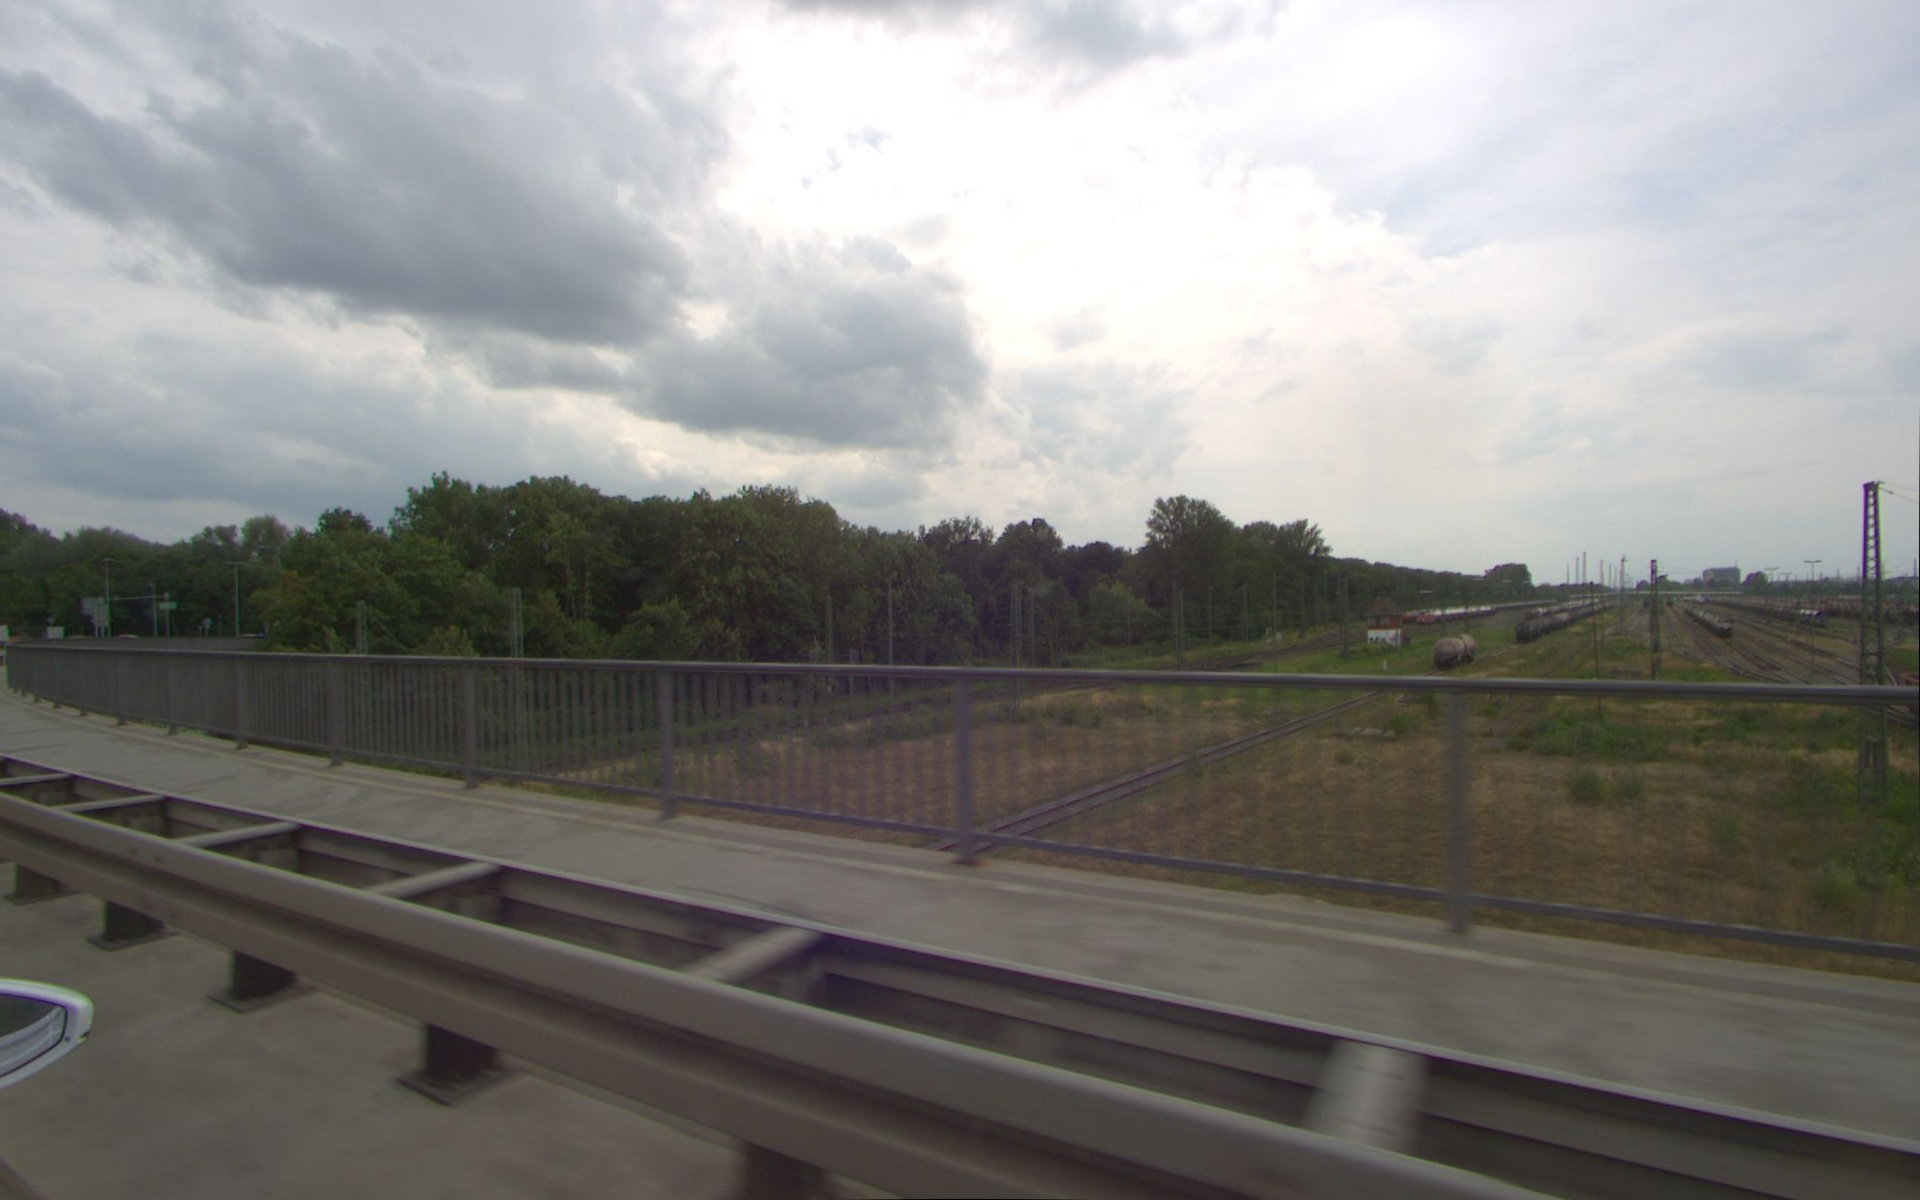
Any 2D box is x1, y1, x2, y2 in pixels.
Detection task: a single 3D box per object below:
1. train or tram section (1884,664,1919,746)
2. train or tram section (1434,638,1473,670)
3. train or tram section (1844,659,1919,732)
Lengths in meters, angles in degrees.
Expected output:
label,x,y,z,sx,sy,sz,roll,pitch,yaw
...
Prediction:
label,x,y,z,sx,sy,sz,roll,pitch,yaw
train or tram section,74.937,7.959,76.832,3.754,5.695,15.472,-1,-2,35
train or tram section,68.418,7.376,138.699,3.209,4.221,11.322,-1,-2,34
train or tram section,86.851,8.528,93.609,3.942,5.549,25.531,-2,-3,36
